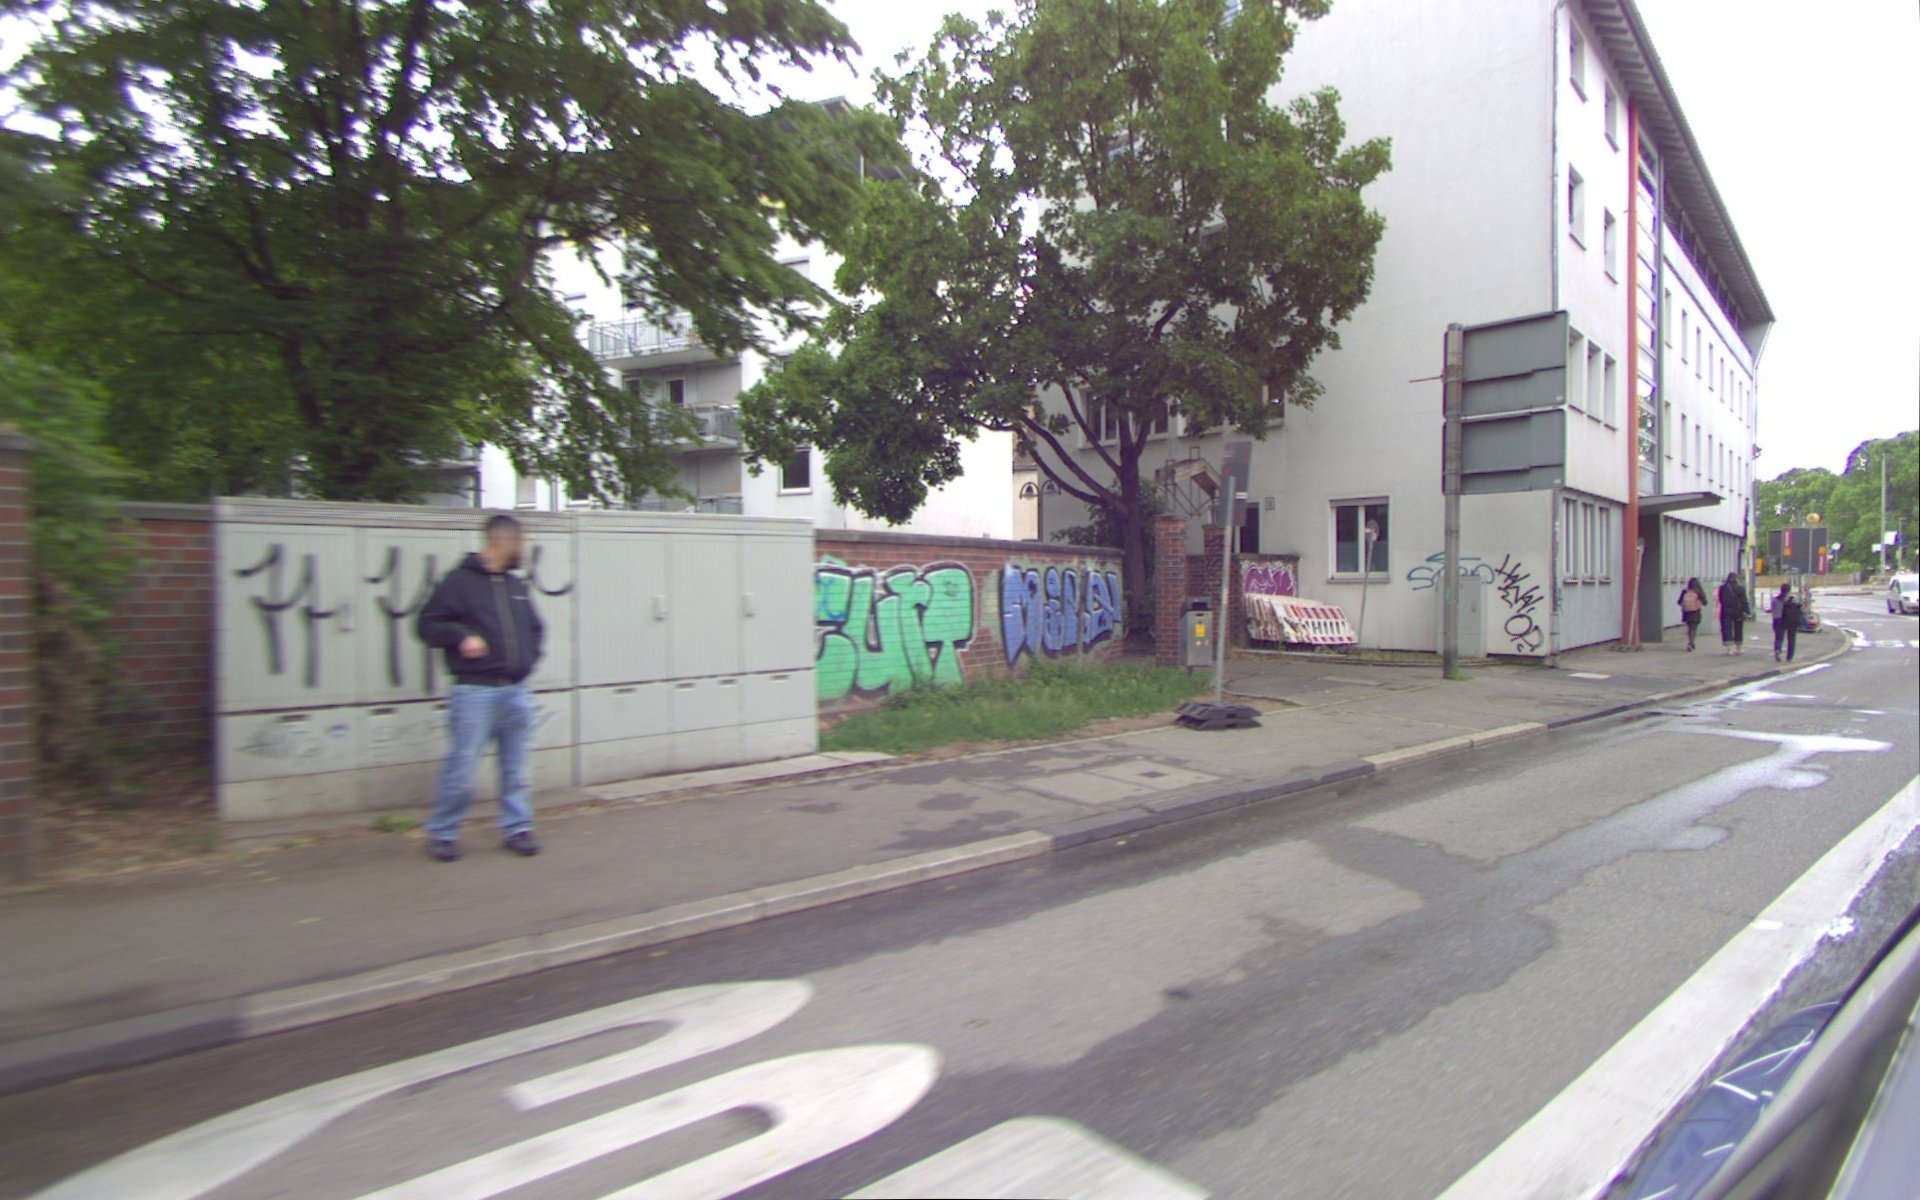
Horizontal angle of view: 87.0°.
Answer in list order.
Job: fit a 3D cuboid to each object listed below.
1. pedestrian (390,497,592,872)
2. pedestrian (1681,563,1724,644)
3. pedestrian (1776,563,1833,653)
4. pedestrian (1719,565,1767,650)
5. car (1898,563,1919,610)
[{"bbox_3d":[-2.478,0.403,5.346,0.807,1.801,0.583,-1,-2,-40],"label":"pedestrian"},{"bbox_3d":[16.481,0.071,22.466,0.596,1.779,0.544,1,1,-33],"label":"pedestrian"},{"bbox_3d":[17.646,0.159,21.139,0.803,1.816,0.928,3,1,44],"label":"pedestrian"},{"bbox_3d":[16.916,0.154,21.851,0.687,1.779,0.864,3,1,44],"label":"pedestrian"},{"bbox_3d":[44.518,-0.683,46.360,2.066,1.807,4.394,-4,2,42],"label":"car"}]
